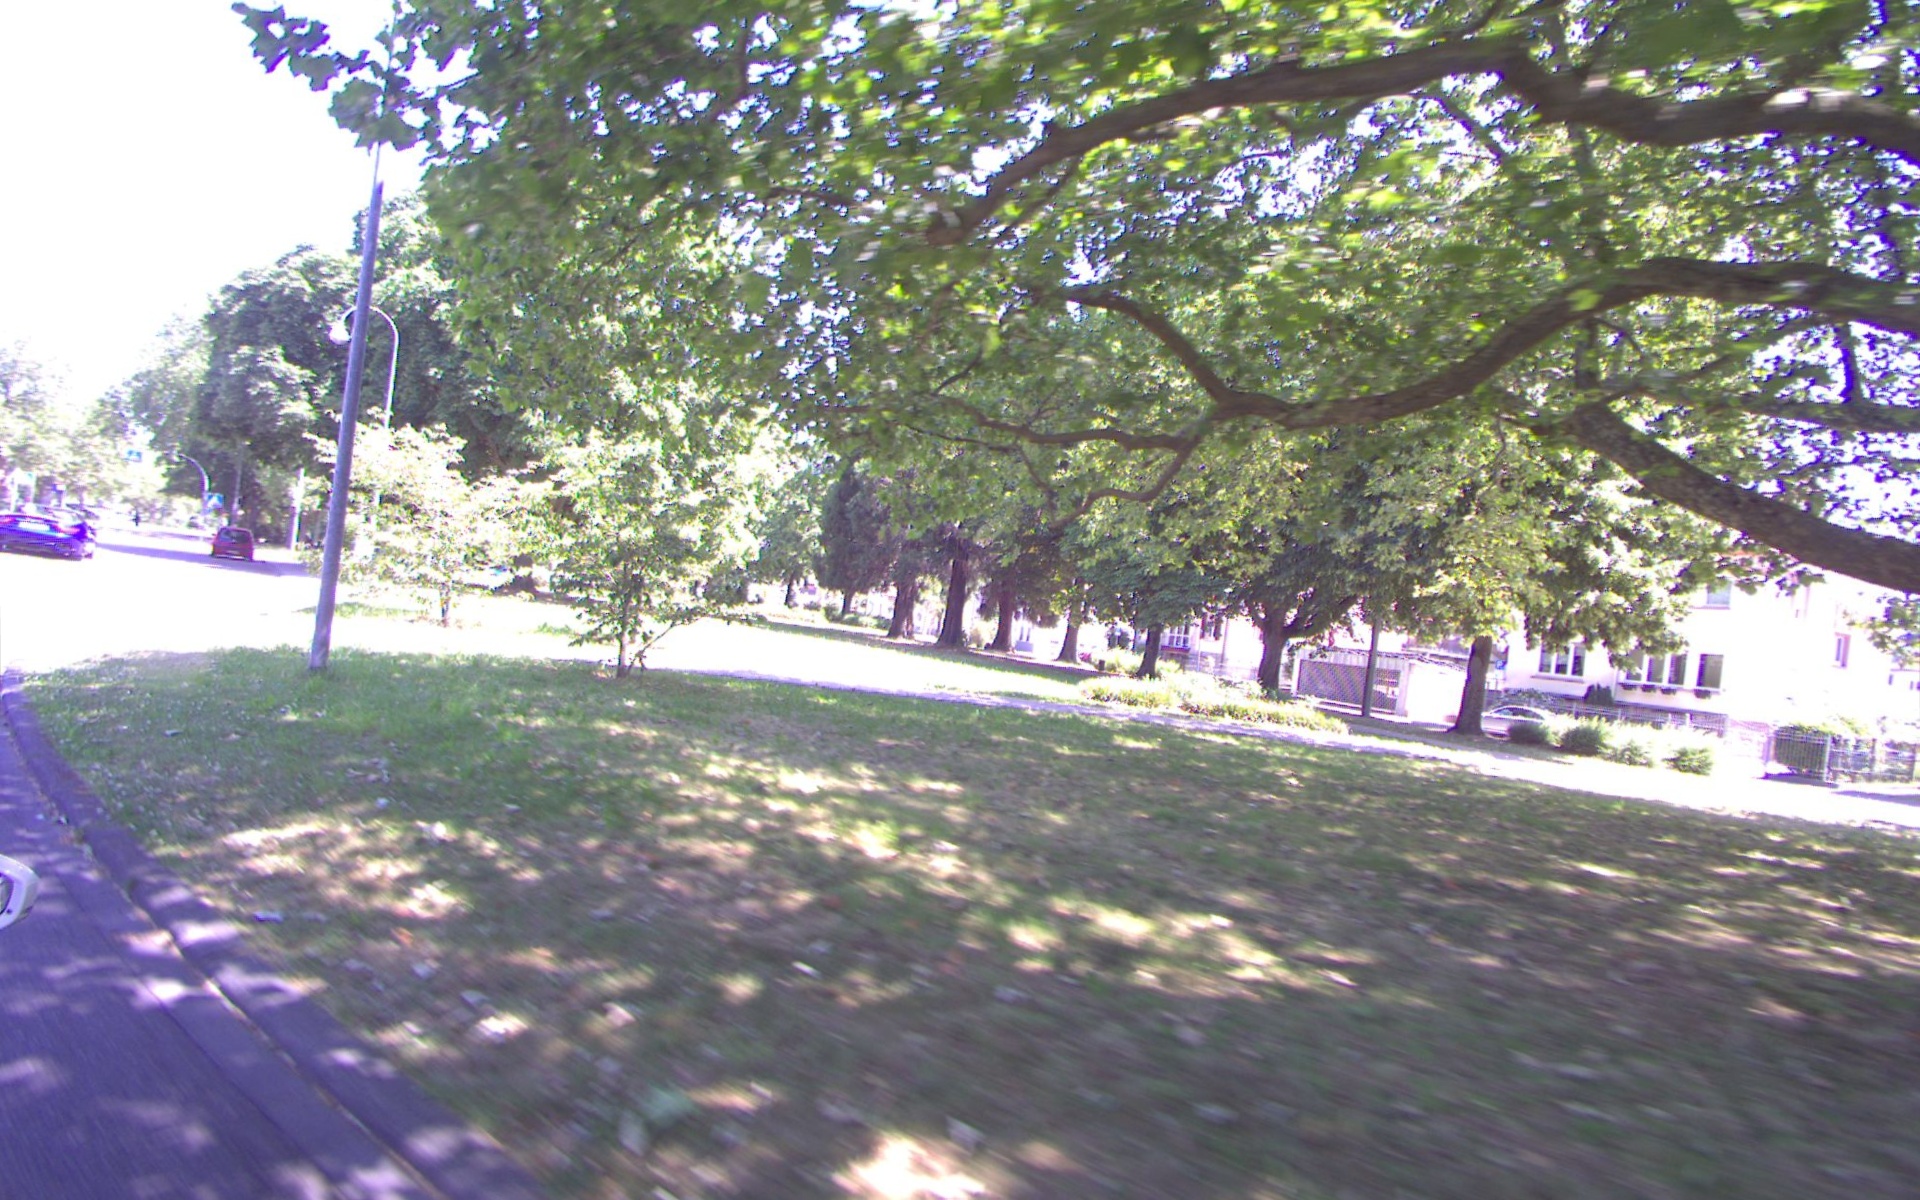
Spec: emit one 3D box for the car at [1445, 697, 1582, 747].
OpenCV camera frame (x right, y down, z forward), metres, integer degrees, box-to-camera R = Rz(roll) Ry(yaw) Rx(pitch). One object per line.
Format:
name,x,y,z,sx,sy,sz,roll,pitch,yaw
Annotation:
car,22.460,4.932,40.999,1.651,1.303,4.684,7,-2,-28

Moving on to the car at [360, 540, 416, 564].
car,-52.088,-4.369,91.696,4.087,1.483,1.979,8,-1,-39

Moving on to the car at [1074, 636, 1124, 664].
car,11.940,4.307,86.546,3.710,1.980,1.823,7,-2,-23

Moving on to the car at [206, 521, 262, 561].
car,-33.240,-2.713,46.011,1.712,1.496,3.665,8,-1,-40

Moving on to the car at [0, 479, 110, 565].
car,-24.333,-2.057,26.760,2.114,1.869,4.010,9,-2,-35
